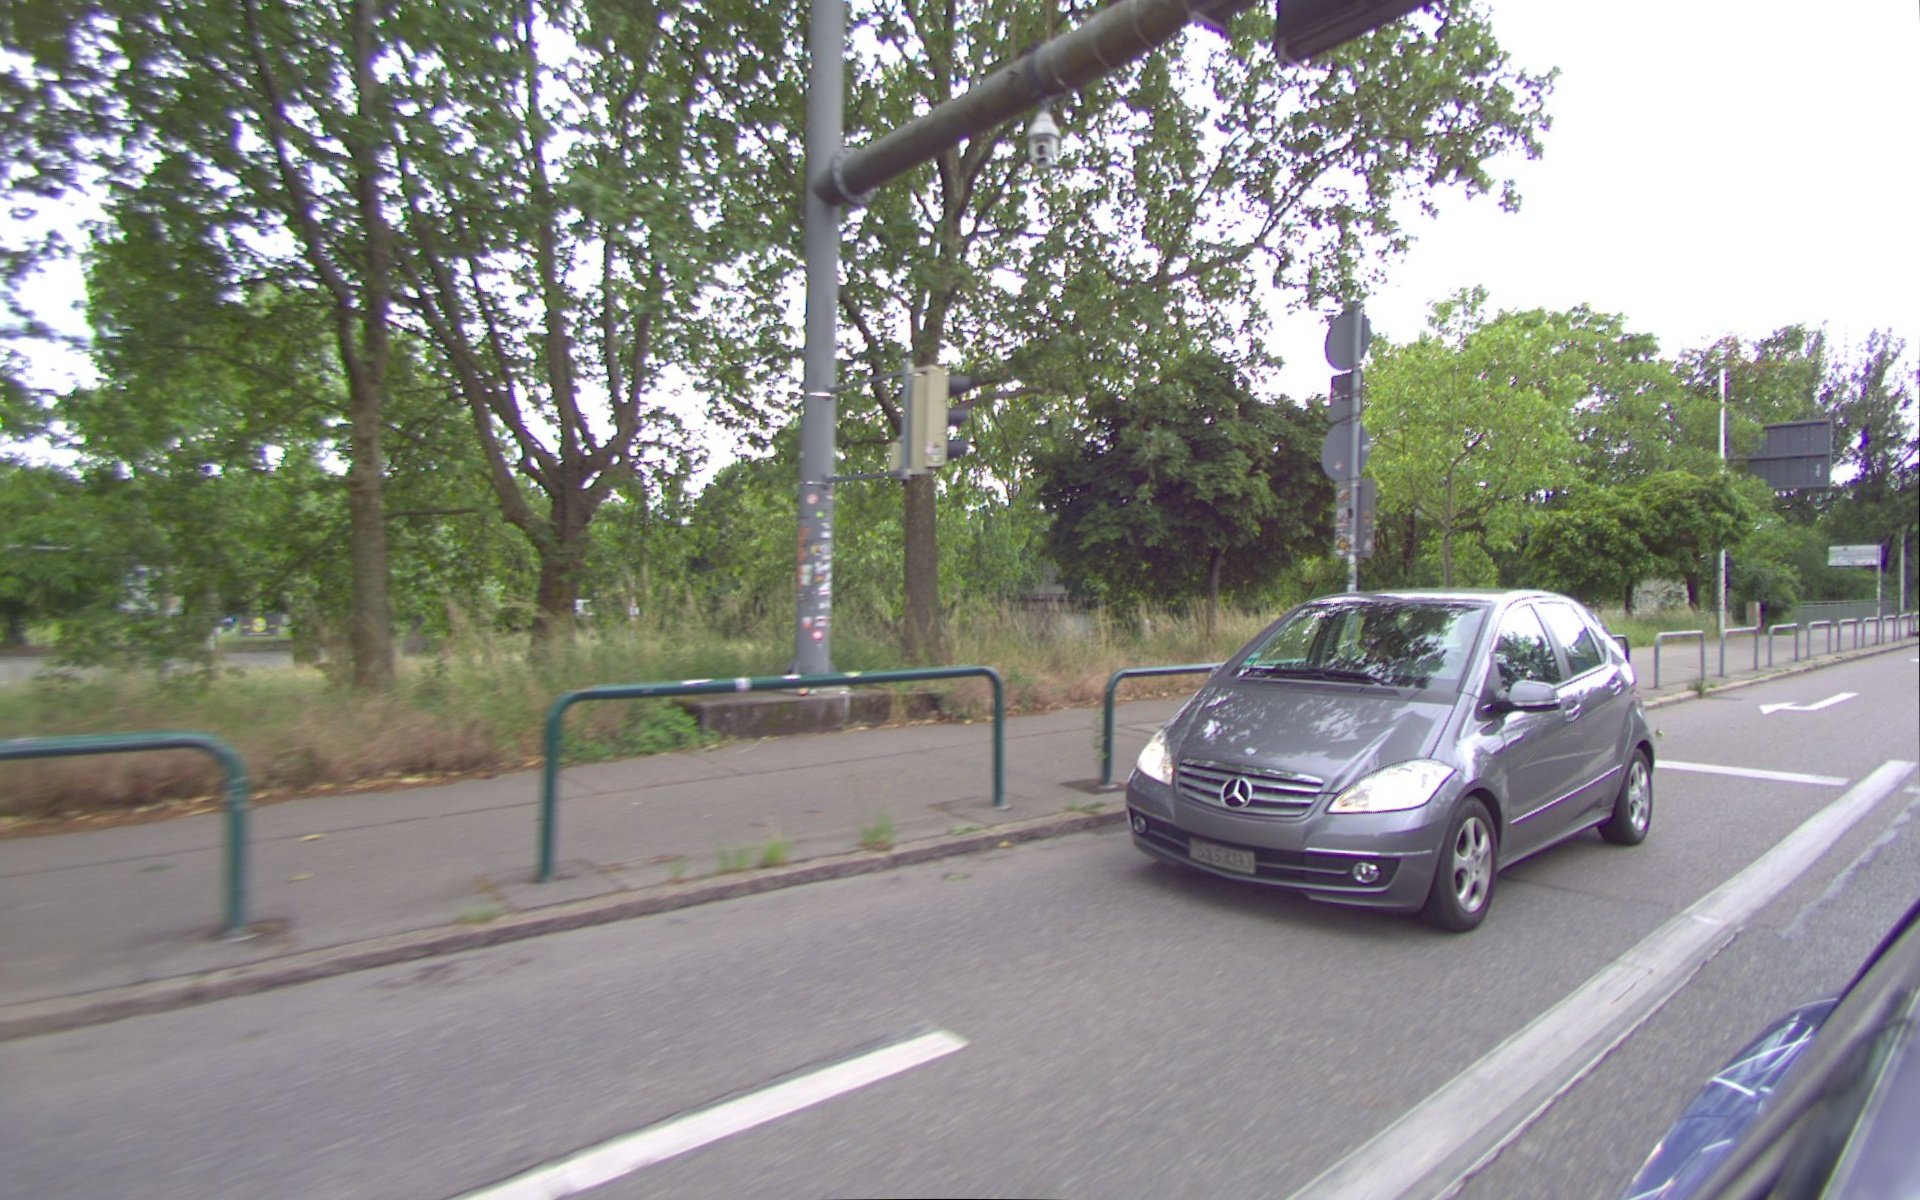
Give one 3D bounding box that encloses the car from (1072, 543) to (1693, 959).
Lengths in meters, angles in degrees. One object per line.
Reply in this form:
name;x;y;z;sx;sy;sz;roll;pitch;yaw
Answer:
car;2.685;0.622;5.992;3.963;1.637;1.829;1;-1;-41
